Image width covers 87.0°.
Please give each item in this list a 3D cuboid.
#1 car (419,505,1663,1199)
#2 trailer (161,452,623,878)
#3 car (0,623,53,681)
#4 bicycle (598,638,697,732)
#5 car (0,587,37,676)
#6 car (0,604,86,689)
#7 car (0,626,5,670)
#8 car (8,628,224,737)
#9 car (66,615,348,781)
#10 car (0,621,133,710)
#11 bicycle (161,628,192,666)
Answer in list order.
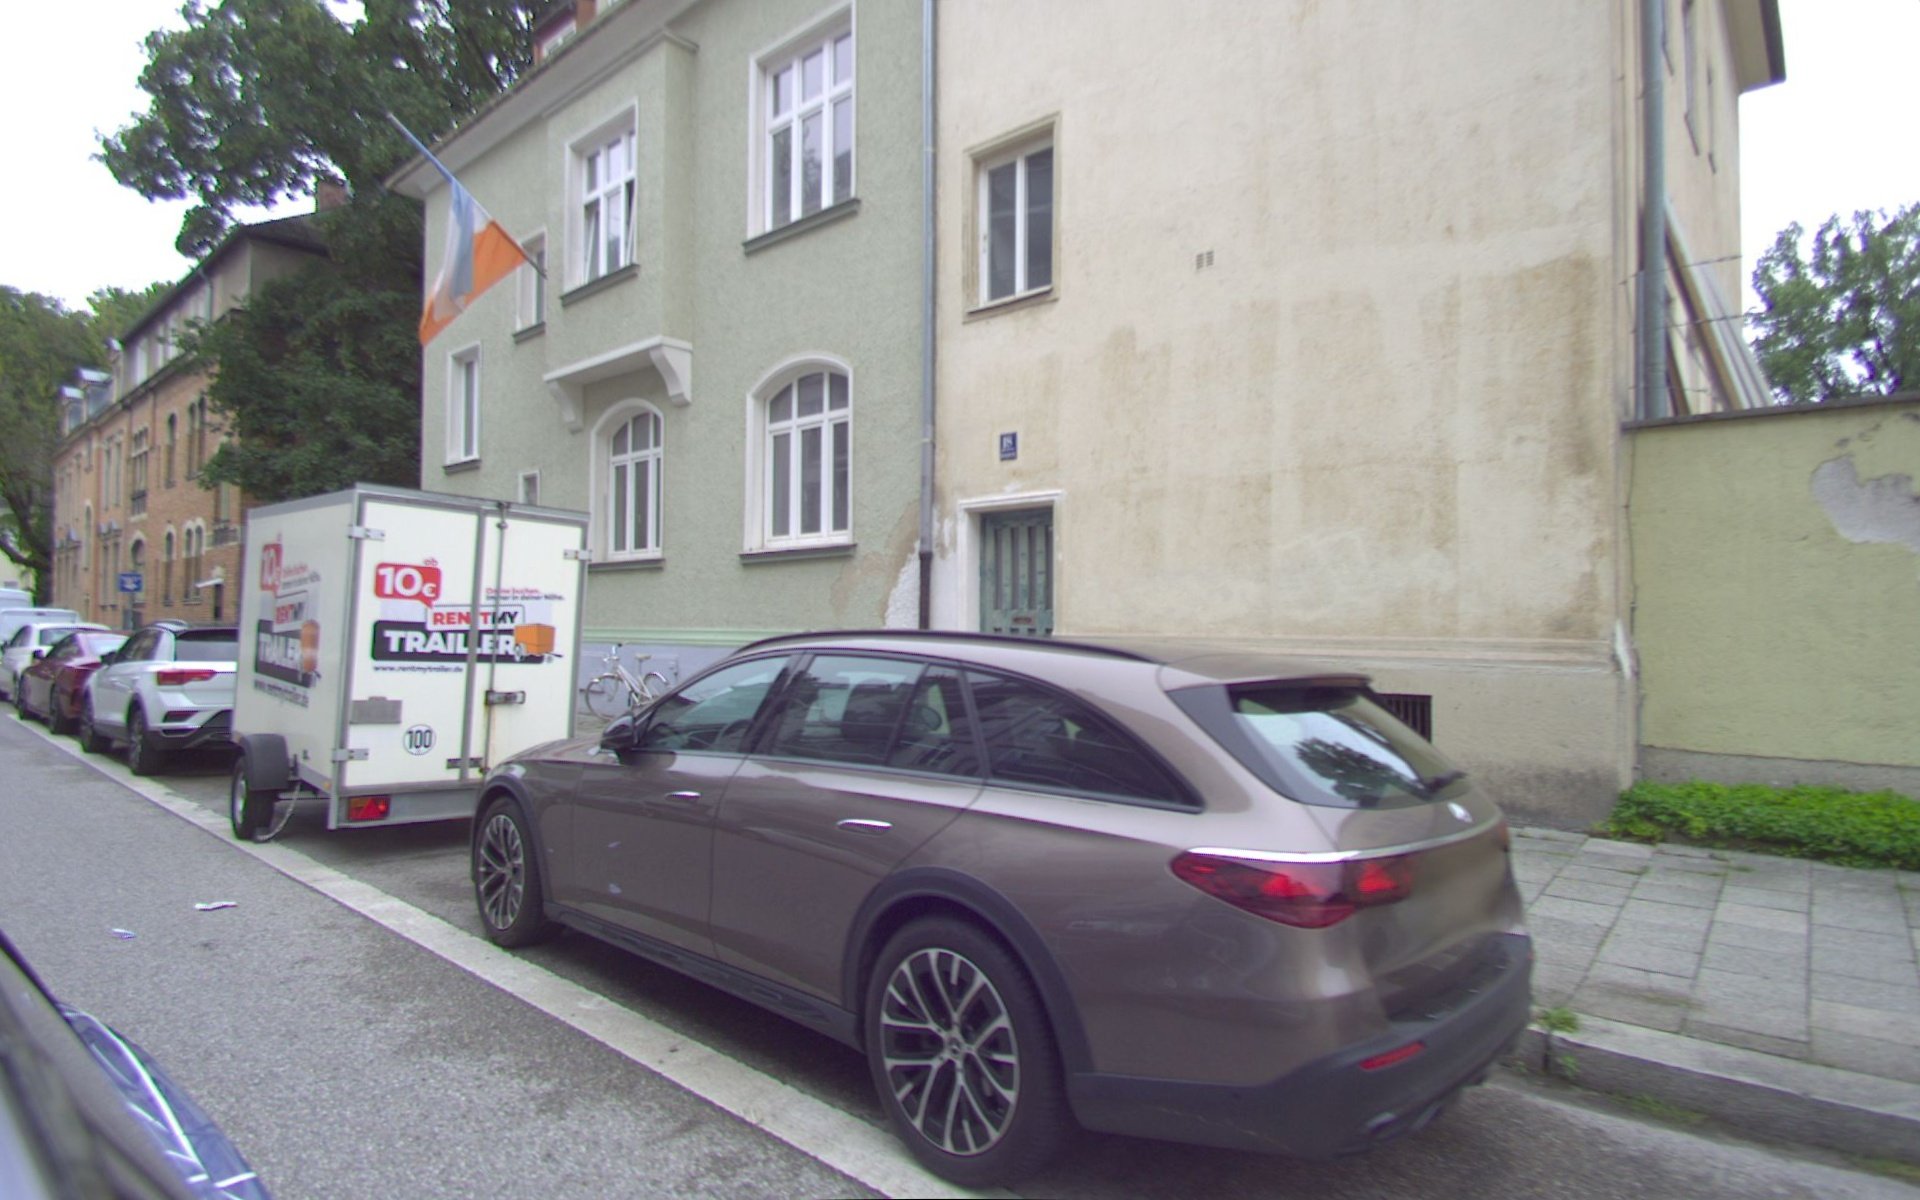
[{"bbox_3d":[-0.311,0.709,4.208,5.091,1.553,1.843,-2,-4,43],"label":"car"},{"bbox_3d":[-4.814,0.472,8.240,4.578,2.490,1.953,-2,-5,44],"label":"trailer"},{"bbox_3d":[-24.964,1.328,26.166,4.163,1.431,1.697,-2,-3,41],"label":"car"},{"bbox_3d":[-4.004,1.052,12.895,1.522,1.093,0.455,-1,0,40],"label":"bicycle"},{"bbox_3d":[-29.076,0.933,29.821,5.228,2.495,2.090,-2,-3,41],"label":"car"},{"bbox_3d":[-21.344,1.046,22.921,4.247,1.769,1.697,-2,-3,41],"label":"car"},{"bbox_3d":[-33.027,1.575,33.428,3.790,1.426,1.746,-2,-3,41],"label":"car"},{"bbox_3d":[-12.612,1.142,15.022,4.400,1.378,1.728,-2,-3,41],"label":"car"},{"bbox_3d":[-8.612,0.997,11.449,4.104,1.542,1.662,-2,-3,41],"label":"car"},{"bbox_3d":[-16.628,1.156,18.581,3.518,1.479,1.610,-2,-3,41],"label":"car"},{"bbox_3d":[-23.388,1.383,30.202,1.470,1.093,0.430,-1,0,40],"label":"bicycle"}]
